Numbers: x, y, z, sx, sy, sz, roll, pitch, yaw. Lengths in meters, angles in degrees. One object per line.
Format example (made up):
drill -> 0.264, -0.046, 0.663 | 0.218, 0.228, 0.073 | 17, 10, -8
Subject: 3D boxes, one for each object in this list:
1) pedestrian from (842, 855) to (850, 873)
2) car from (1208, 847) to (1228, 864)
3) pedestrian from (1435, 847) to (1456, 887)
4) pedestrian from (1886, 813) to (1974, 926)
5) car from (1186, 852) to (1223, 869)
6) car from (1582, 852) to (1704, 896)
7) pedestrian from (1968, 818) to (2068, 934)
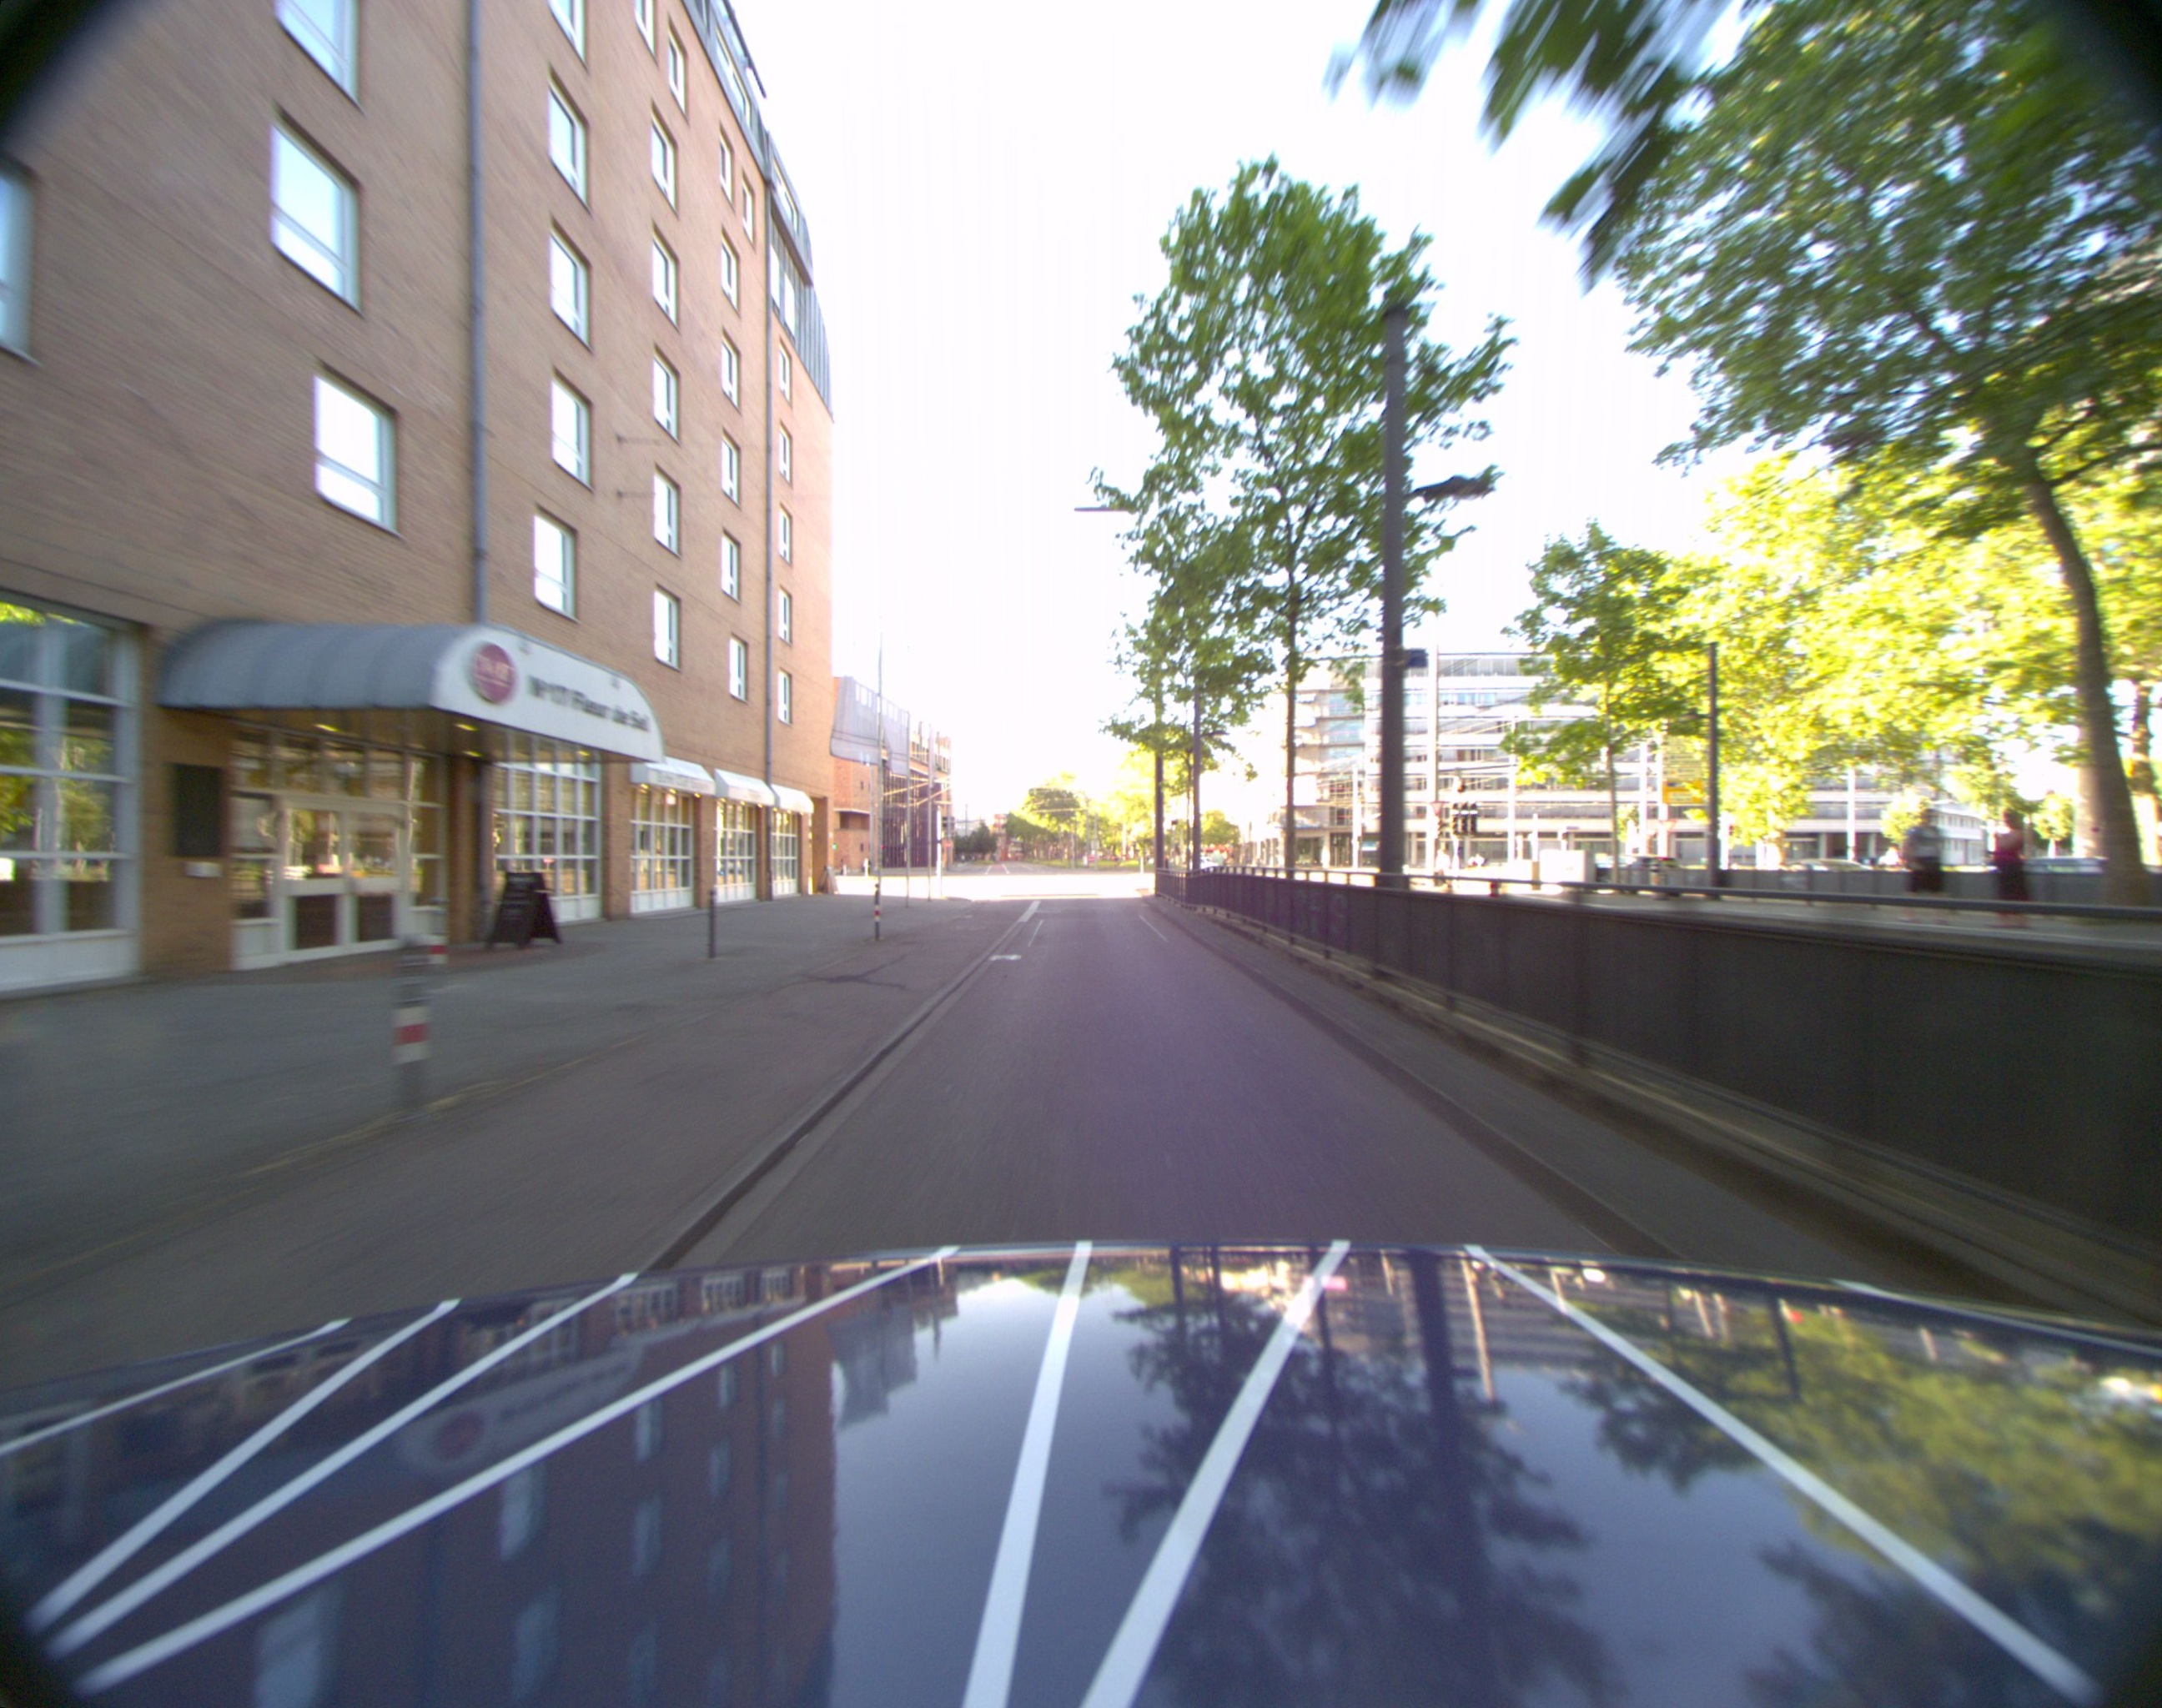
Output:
pedestrian -> -22.421, 0.960, 72.441 | 0.626, 1.673, 0.529 | -1, 1, -9
car -> 15.086, 0.188, 83.740 | 1.997, 1.772, 4.003 | -2, 0, 9
pedestrian -> 15.263, 0.539, 31.808 | 0.648, 1.676, 0.501 | -1, 1, -2
pedestrian -> 13.541, 0.236, 12.135 | 0.656, 1.744, 0.676 | -1, 1, -8
car -> 11.144, 0.593, 68.399 | 1.905, 1.474, 4.295 | 0, 0, 30
car -> 19.763, 0.653, 26.896 | 1.871, 1.447, 3.342 | -1, 0, 1
pedestrian -> 14.177, 0.319, 11.509 | 0.686, 1.686, 0.698 | -1, 1, -8
